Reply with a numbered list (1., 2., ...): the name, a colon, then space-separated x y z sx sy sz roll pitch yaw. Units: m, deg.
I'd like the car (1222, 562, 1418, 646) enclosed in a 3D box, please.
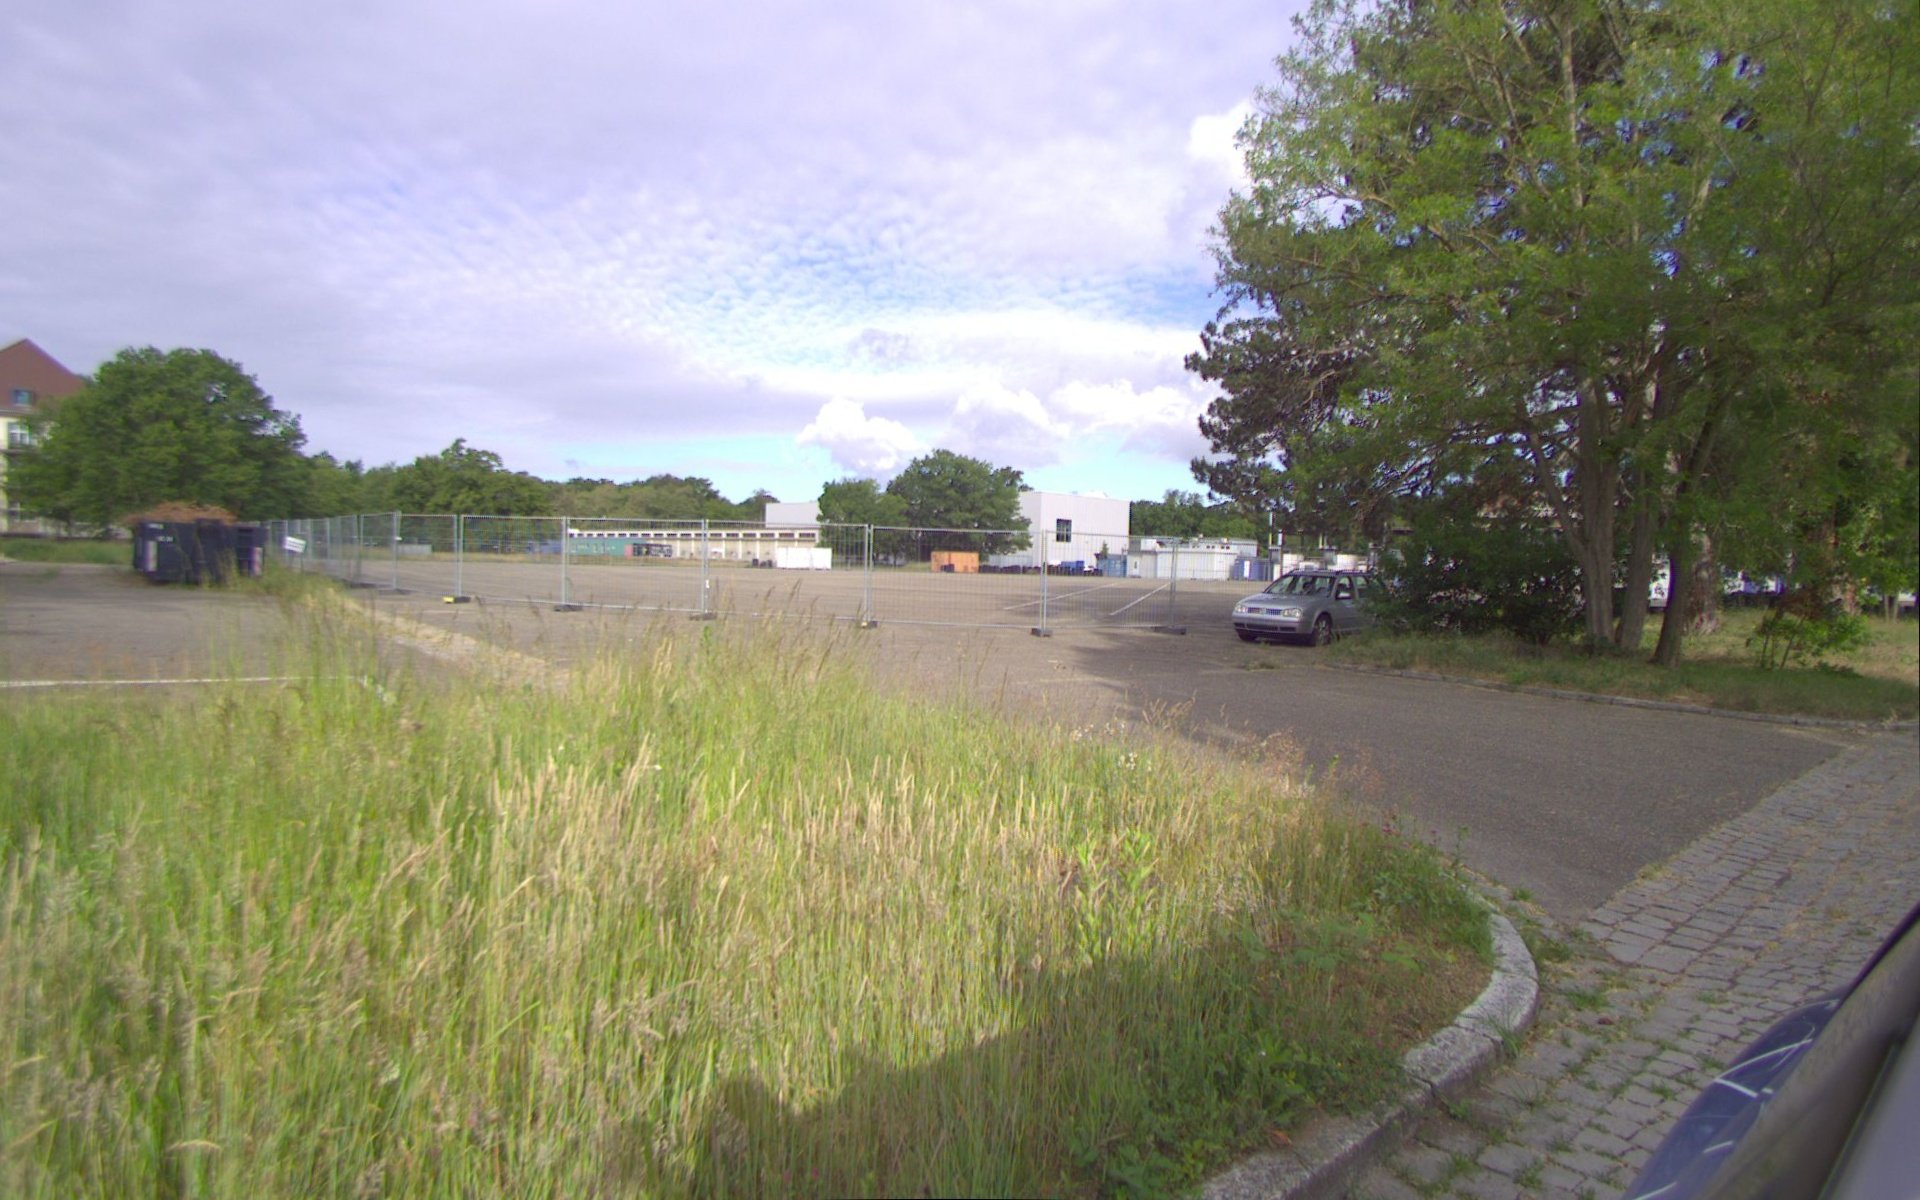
1. car: 7.244 0.042 20.201 4.250 1.466 1.759 0 3 -40
